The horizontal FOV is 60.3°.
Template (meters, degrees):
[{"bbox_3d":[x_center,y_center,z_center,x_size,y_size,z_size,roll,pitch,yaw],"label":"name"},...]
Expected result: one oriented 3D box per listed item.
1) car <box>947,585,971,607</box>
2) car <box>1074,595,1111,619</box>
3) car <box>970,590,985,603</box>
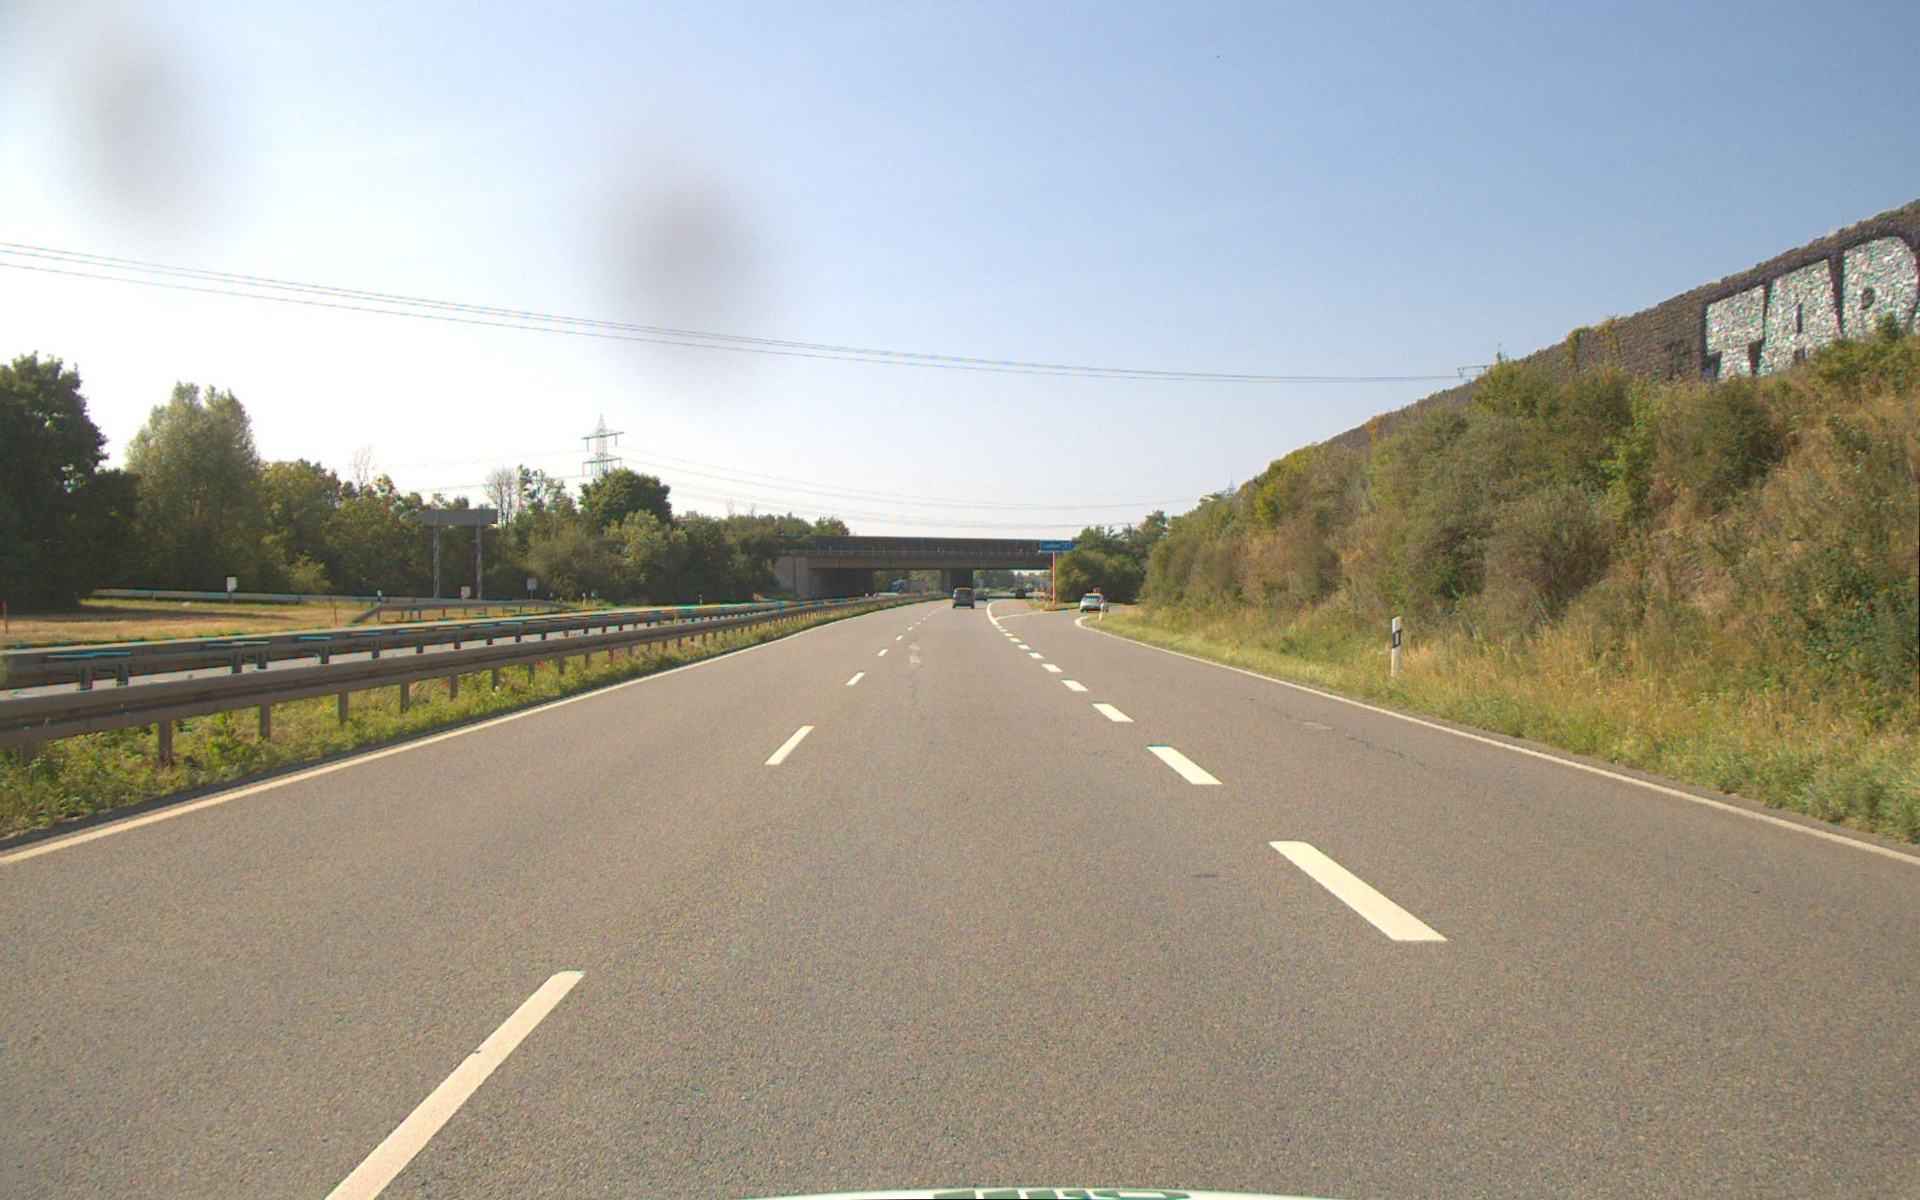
[{"bbox_3d":[-0.086,-0.320,135.088,1.811,1.673,4.001,1,0,2],"label":"car"},{"bbox_3d":[10.145,0.511,126.466,1.759,1.694,4.001,3,1,20],"label":"car"},{"bbox_3d":[2.313,-0.416,212.163,1.811,1.673,4.001,1,0,2],"label":"car"}]
